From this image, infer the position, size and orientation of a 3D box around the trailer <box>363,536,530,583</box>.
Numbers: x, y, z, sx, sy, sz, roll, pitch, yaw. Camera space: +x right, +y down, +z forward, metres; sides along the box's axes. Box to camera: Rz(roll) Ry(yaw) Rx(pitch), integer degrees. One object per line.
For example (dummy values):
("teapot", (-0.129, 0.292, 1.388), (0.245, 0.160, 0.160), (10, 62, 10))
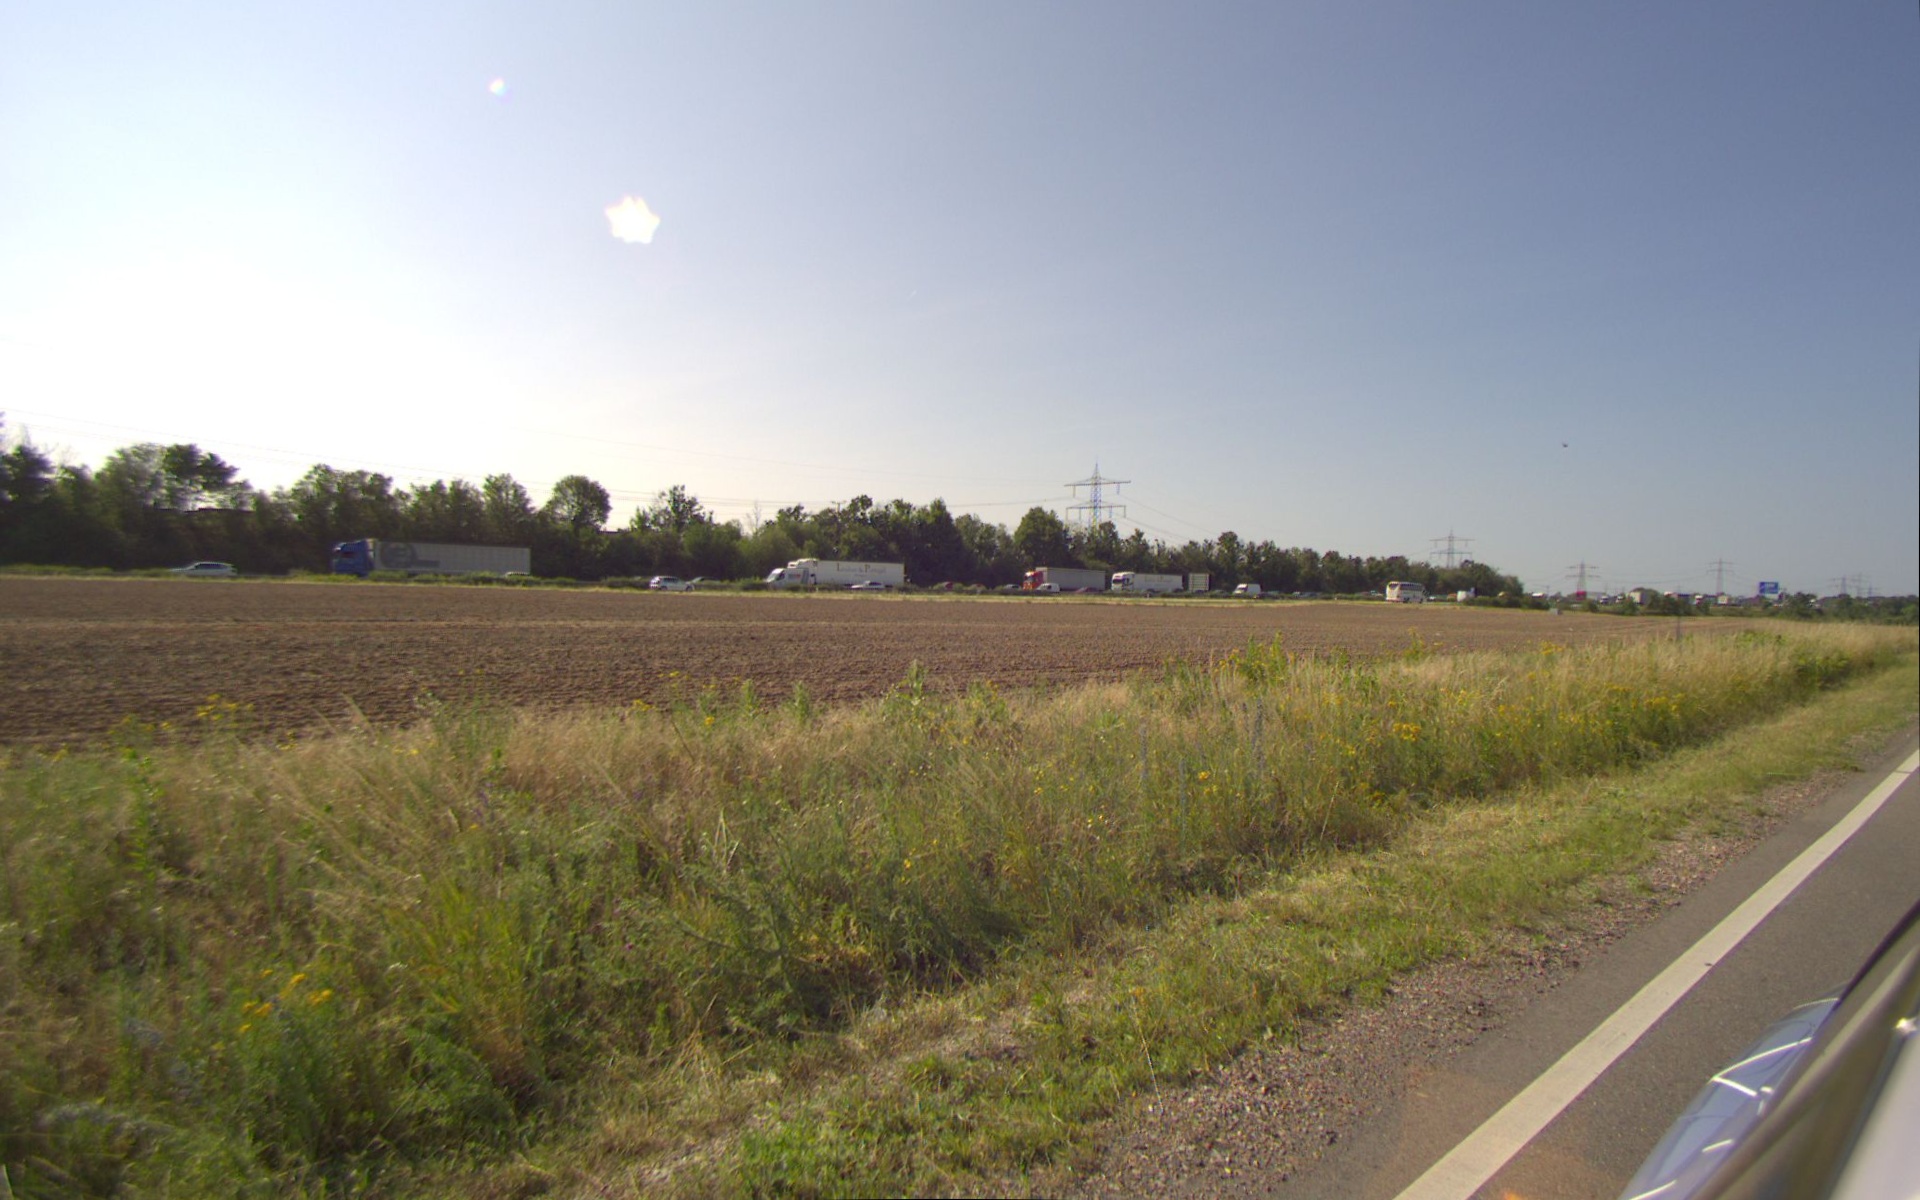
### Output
("trailer", (-47.271, -3.627, 93.707), (13.392, 3.780, 3.077), (1, 1, -42))

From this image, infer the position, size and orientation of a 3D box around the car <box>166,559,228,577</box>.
("car", (-56.603, -2.353, 75.086), (3.520, 1.166, 1.396), (1, -1, -42))

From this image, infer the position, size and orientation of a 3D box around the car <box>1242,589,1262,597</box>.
("car", (46.512, -1.092, 161.280), (3.558, 1.250, 1.547), (1, -2, -43))

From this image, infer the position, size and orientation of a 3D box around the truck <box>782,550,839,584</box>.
("truck", (-17.842, -3.926, 121.012), (6.011, 3.780, 3.077), (1, 1, -42))

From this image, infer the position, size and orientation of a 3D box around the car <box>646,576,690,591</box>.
("car", (-26.713, -1.468, 92.633), (3.558, 1.250, 1.547), (1, -2, -43))

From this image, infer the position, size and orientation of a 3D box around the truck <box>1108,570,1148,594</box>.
("truck", (27.016, -2.909, 162.361), (6.006, 3.575, 3.207), (1, 2, -43))

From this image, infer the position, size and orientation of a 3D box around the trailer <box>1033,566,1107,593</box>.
("trailer", (16.732, -3.103, 153.280), (13.548, 3.780, 2.949), (1, 1, -43))

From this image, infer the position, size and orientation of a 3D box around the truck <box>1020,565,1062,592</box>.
("truck", (11.895, -3.149, 148.795), (5.770, 3.780, 2.949), (1, 0, -43))

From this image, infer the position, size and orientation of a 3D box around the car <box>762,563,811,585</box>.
("car", (-18.989, -2.787, 111.057), (5.149, 2.228, 1.907), (1, -1, -43))

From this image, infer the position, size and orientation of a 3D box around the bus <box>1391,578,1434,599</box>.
("bus", (89.234, -2.231, 199.457), (14.303, 3.851, 2.465), (1, 0, -44))

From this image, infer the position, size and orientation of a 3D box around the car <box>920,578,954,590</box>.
("car", (-2.896, -1.988, 127.343), (4.176, 1.403, 1.852), (1, -1, -43))

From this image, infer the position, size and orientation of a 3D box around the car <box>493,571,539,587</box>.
("car", (-39.930, -1.881, 91.072), (3.542, 1.403, 1.493), (1, -1, -43))

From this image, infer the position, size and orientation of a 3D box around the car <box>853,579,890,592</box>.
("car", (-10.510, -1.754, 120.119), (4.176, 1.403, 1.852), (1, -1, -43))

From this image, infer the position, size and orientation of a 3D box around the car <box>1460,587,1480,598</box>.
("car", (111.178, -1.656, 220.623), (5.428, 2.402, 1.996), (1, -1, -43))

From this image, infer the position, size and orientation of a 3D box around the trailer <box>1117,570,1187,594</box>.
("trailer", (31.747, -2.866, 166.871), (14.829, 3.575, 3.207), (1, 2, -43))

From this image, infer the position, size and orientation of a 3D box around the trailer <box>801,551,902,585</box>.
("trailer", (-13.273, -3.892, 125.114), (13.135, 3.780, 3.077), (1, 1, -42))

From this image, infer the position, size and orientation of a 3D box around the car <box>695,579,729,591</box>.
("car", (-25.539, -1.502, 104.224), (3.127, 1.166, 1.396), (1, -1, -43))

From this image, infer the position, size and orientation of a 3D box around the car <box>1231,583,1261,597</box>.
("car", (50.100, -1.721, 177.074), (6.303, 2.478, 2.040), (0, 0, -42))

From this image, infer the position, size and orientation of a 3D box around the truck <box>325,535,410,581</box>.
("truck", (-52.252, -3.661, 89.303), (5.981, 3.780, 3.077), (1, 0, -41))

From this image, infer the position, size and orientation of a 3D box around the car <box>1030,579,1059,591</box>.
("car", (11.701, -2.052, 139.954), (4.025, 1.659, 1.704), (0, -1, -43))
